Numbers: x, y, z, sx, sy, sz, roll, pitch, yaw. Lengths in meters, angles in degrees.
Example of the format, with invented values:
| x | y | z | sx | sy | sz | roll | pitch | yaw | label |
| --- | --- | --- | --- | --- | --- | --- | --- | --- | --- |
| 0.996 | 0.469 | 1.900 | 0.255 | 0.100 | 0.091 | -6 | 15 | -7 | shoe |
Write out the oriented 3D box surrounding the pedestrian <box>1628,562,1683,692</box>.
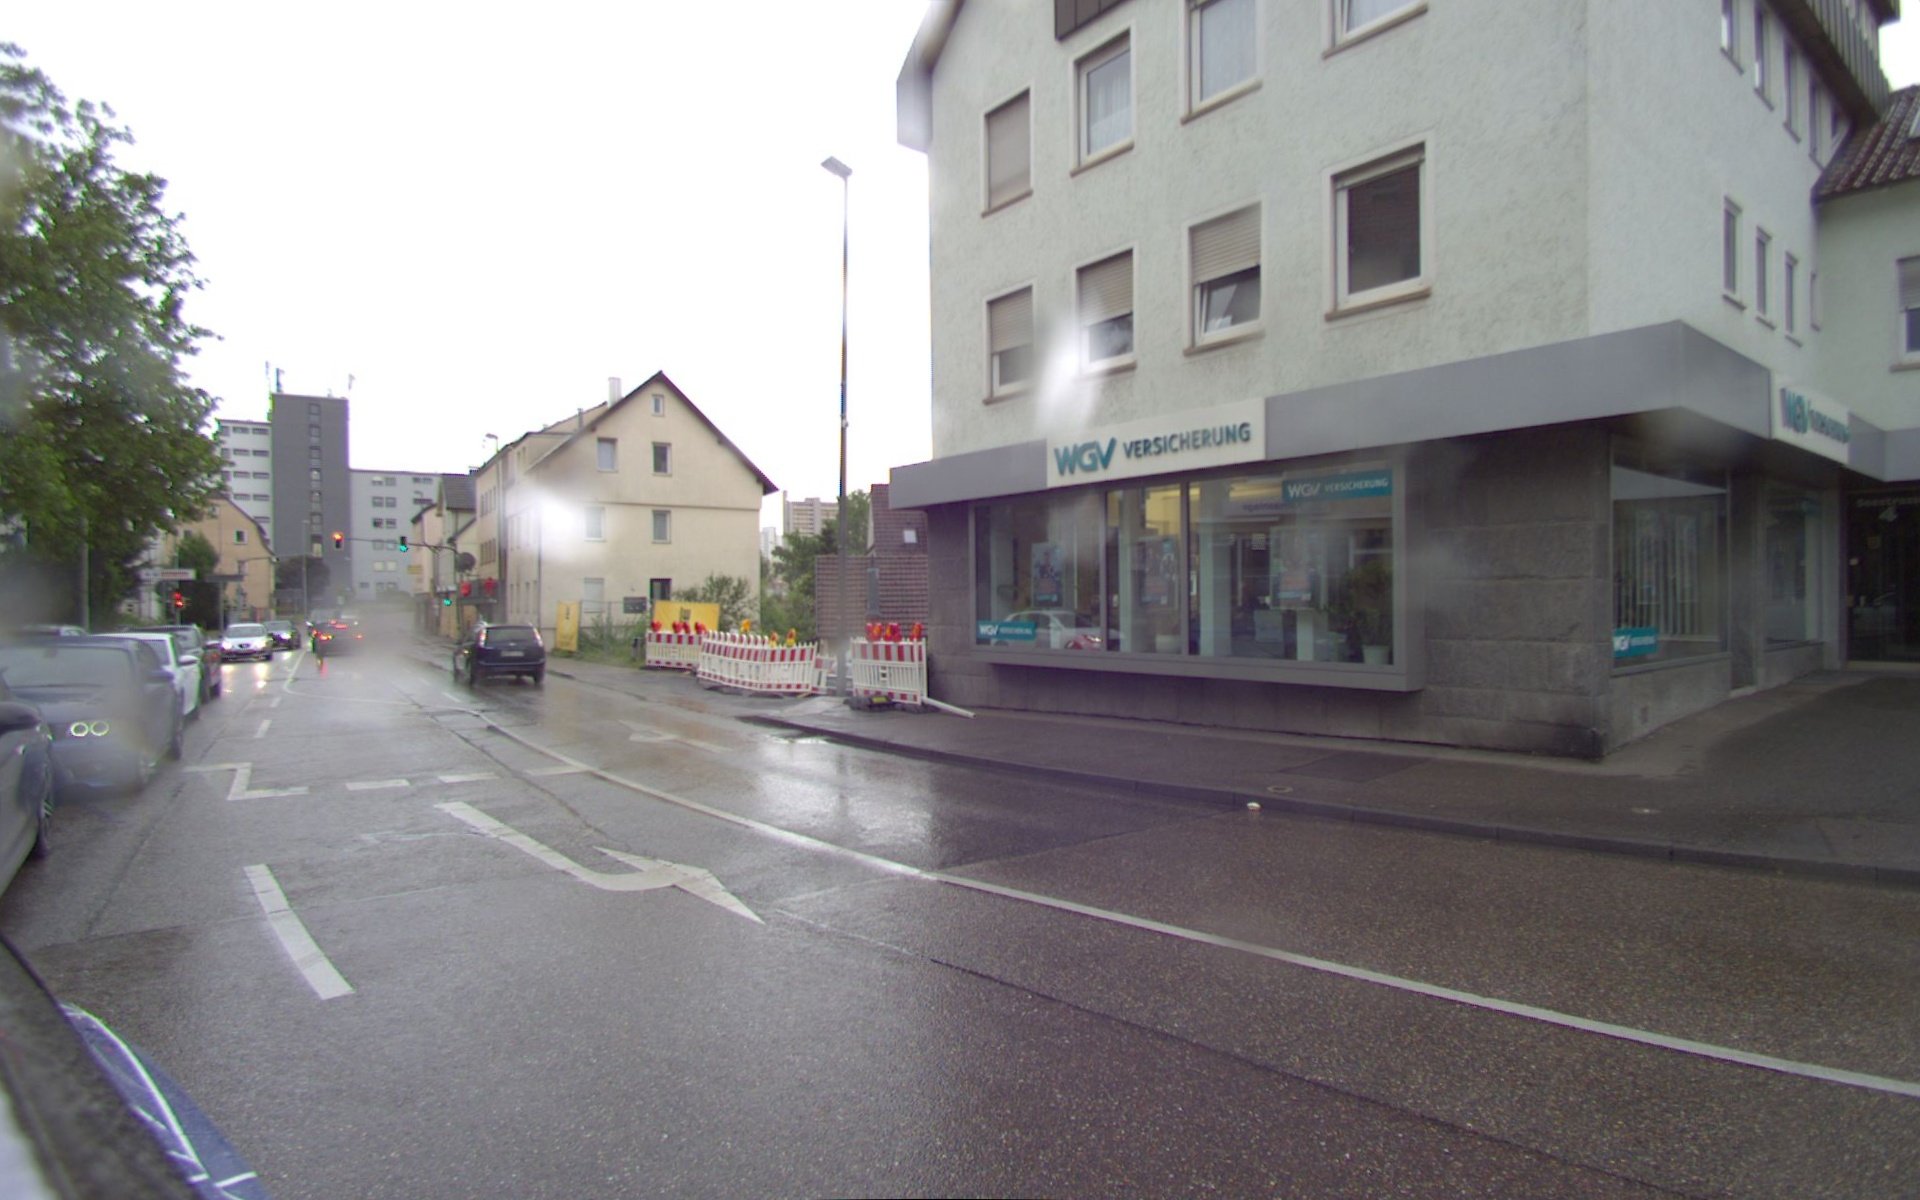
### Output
| x | y | z | sx | sy | sz | roll | pitch | yaw | label |
| --- | --- | --- | --- | --- | --- | --- | --- | --- | --- |
| 8.355 | 0.320 | 12.165 | 0.352 | 1.519 | 0.426 | -2 | -1 | -41 | pedestrian |

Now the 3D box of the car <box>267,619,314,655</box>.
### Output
| x | y | z | sx | sy | sz | roll | pitch | yaw | label |
| --- | --- | --- | --- | --- | --- | --- | --- | --- | --- |
| -36.669 | 1.990 | 55.499 | 1.763 | 1.866 | 3.847 | -1 | -1 | -28 | car |

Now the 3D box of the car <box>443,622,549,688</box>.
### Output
| x | y | z | sx | sy | sz | roll | pitch | yaw | label |
| --- | --- | --- | --- | --- | --- | --- | --- | --- | --- |
| -11.838 | 1.358 | 25.682 | 1.709 | 1.522 | 4.283 | 1 | -3 | -35 | car |

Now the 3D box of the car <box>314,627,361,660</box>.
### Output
| x | y | z | sx | sy | sz | roll | pitch | yaw | label |
| --- | --- | --- | --- | --- | --- | --- | --- | --- | --- |
| -28.292 | 1.934 | 45.934 | 1.684 | 1.394 | 3.679 | -1 | -1 | -33 | car |

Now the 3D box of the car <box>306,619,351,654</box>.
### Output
| x | y | z | sx | sy | sz | roll | pitch | yaw | label |
| --- | --- | --- | --- | --- | --- | --- | --- | --- | --- |
| -32.031 | 1.830 | 51.250 | 1.791 | 1.657 | 4.287 | -1 | -1 | -34 | car |

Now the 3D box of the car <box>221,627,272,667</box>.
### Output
| x | y | z | sx | sy | sz | roll | pitch | yaw | label |
| --- | --- | --- | --- | --- | --- | --- | --- | --- | --- |
| -29.558 | 1.908 | 41.993 | 1.590 | 1.515 | 3.727 | -2 | 0 | -34 | car |

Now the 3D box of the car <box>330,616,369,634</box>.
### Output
| x | y | z | sx | sy | sz | roll | pitch | yaw | label |
| --- | --- | --- | --- | --- | --- | --- | --- | --- | --- |
| -58.103 | 2.383 | 96.392 | 1.713 | 1.577 | 3.842 | -1 | -1 | -7 | car |

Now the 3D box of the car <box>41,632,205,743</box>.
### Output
| x | y | z | sx | sy | sz | roll | pitch | yaw | label |
| --- | --- | --- | --- | --- | --- | --- | --- | --- | --- |
| -12.869 | 1.241 | 15.767 | 1.660 | 1.432 | 4.010 | -1 | -1 | -35 | car |

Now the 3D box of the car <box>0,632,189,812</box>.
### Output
| x | y | z | sx | sy | sz | roll | pitch | yaw | label |
| --- | --- | --- | --- | --- | --- | --- | --- | --- | --- |
| -8.735 | 1.042 | 9.859 | 1.615 | 1.443 | 3.816 | 1 | -2 | -33 | car |

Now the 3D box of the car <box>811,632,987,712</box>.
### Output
| x | y | z | sx | sy | sz | roll | pitch | yaw | label |
| --- | --- | --- | --- | --- | --- | --- | --- | --- | --- |
| -1.269 | 1.597 | 21.814 | 3.456 | 1.401 | 1.653 | 10 | -10 | -41 | car |

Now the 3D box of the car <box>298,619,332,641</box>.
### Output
| x | y | z | sx | sy | sz | roll | pitch | yaw | label |
| --- | --- | --- | --- | --- | --- | --- | --- | --- | --- |
| -49.328 | 2.264 | 77.466 | 1.763 | 1.577 | 3.848 | -1 | -1 | -26 | car |

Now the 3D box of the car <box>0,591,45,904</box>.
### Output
| x | y | z | sx | sy | sz | roll | pitch | yaw | label |
| --- | --- | --- | --- | --- | --- | --- | --- | --- | --- |
| -5.687 | 0.762 | 4.710 | 1.792 | 1.583 | 4.284 | -1 | -1 | -38 | car |

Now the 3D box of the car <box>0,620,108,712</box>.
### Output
| x | y | z | sx | sy | sz | roll | pitch | yaw | label |
| --- | --- | --- | --- | --- | --- | --- | --- | --- | --- |
| -20.084 | 1.357 | 21.751 | 1.904 | 1.794 | 4.748 | 0 | -2 | -30 | car |

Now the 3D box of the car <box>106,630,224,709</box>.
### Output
| x | y | z | sx | sy | sz | roll | pitch | yaw | label |
| --- | --- | --- | --- | --- | --- | --- | --- | --- | --- |
| -16.883 | 1.400 | 21.652 | 1.659 | 1.472 | 4.010 | -1 | -1 | -34 | car |
